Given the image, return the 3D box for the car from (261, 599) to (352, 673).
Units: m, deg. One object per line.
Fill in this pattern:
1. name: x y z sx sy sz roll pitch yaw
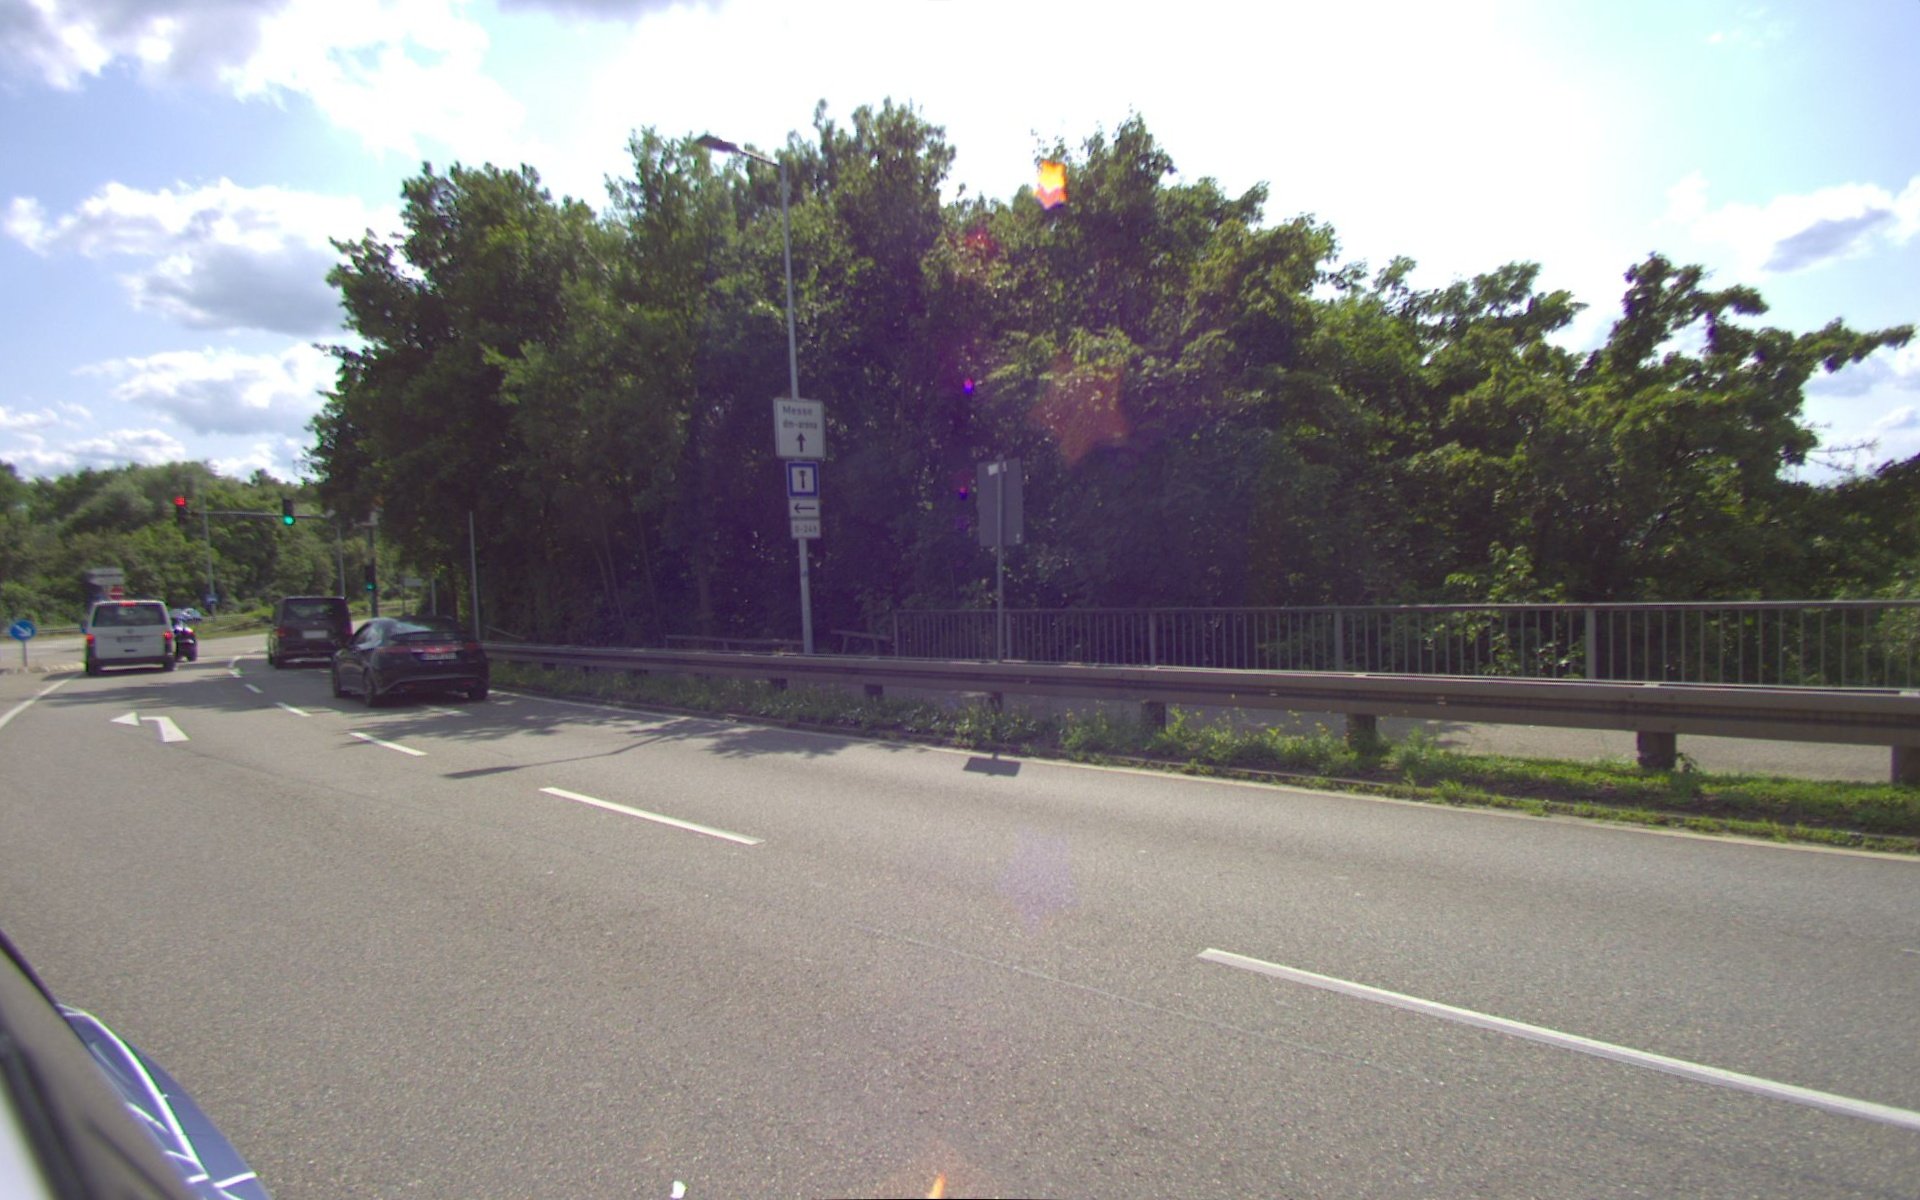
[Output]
1. car: -19.156 1.008 29.570 1.967 1.928 5.144 -1 -1 -36

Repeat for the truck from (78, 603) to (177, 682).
1. truck: -23.122 1.119 28.143 1.936 1.927 5.379 -2 0 -40

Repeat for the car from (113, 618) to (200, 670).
1. car: -26.784 1.439 33.699 3.821 1.569 1.680 -2 0 42

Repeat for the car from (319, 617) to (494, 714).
1. car: -9.579 1.032 17.372 1.776 1.400 4.012 -1 0 -41
